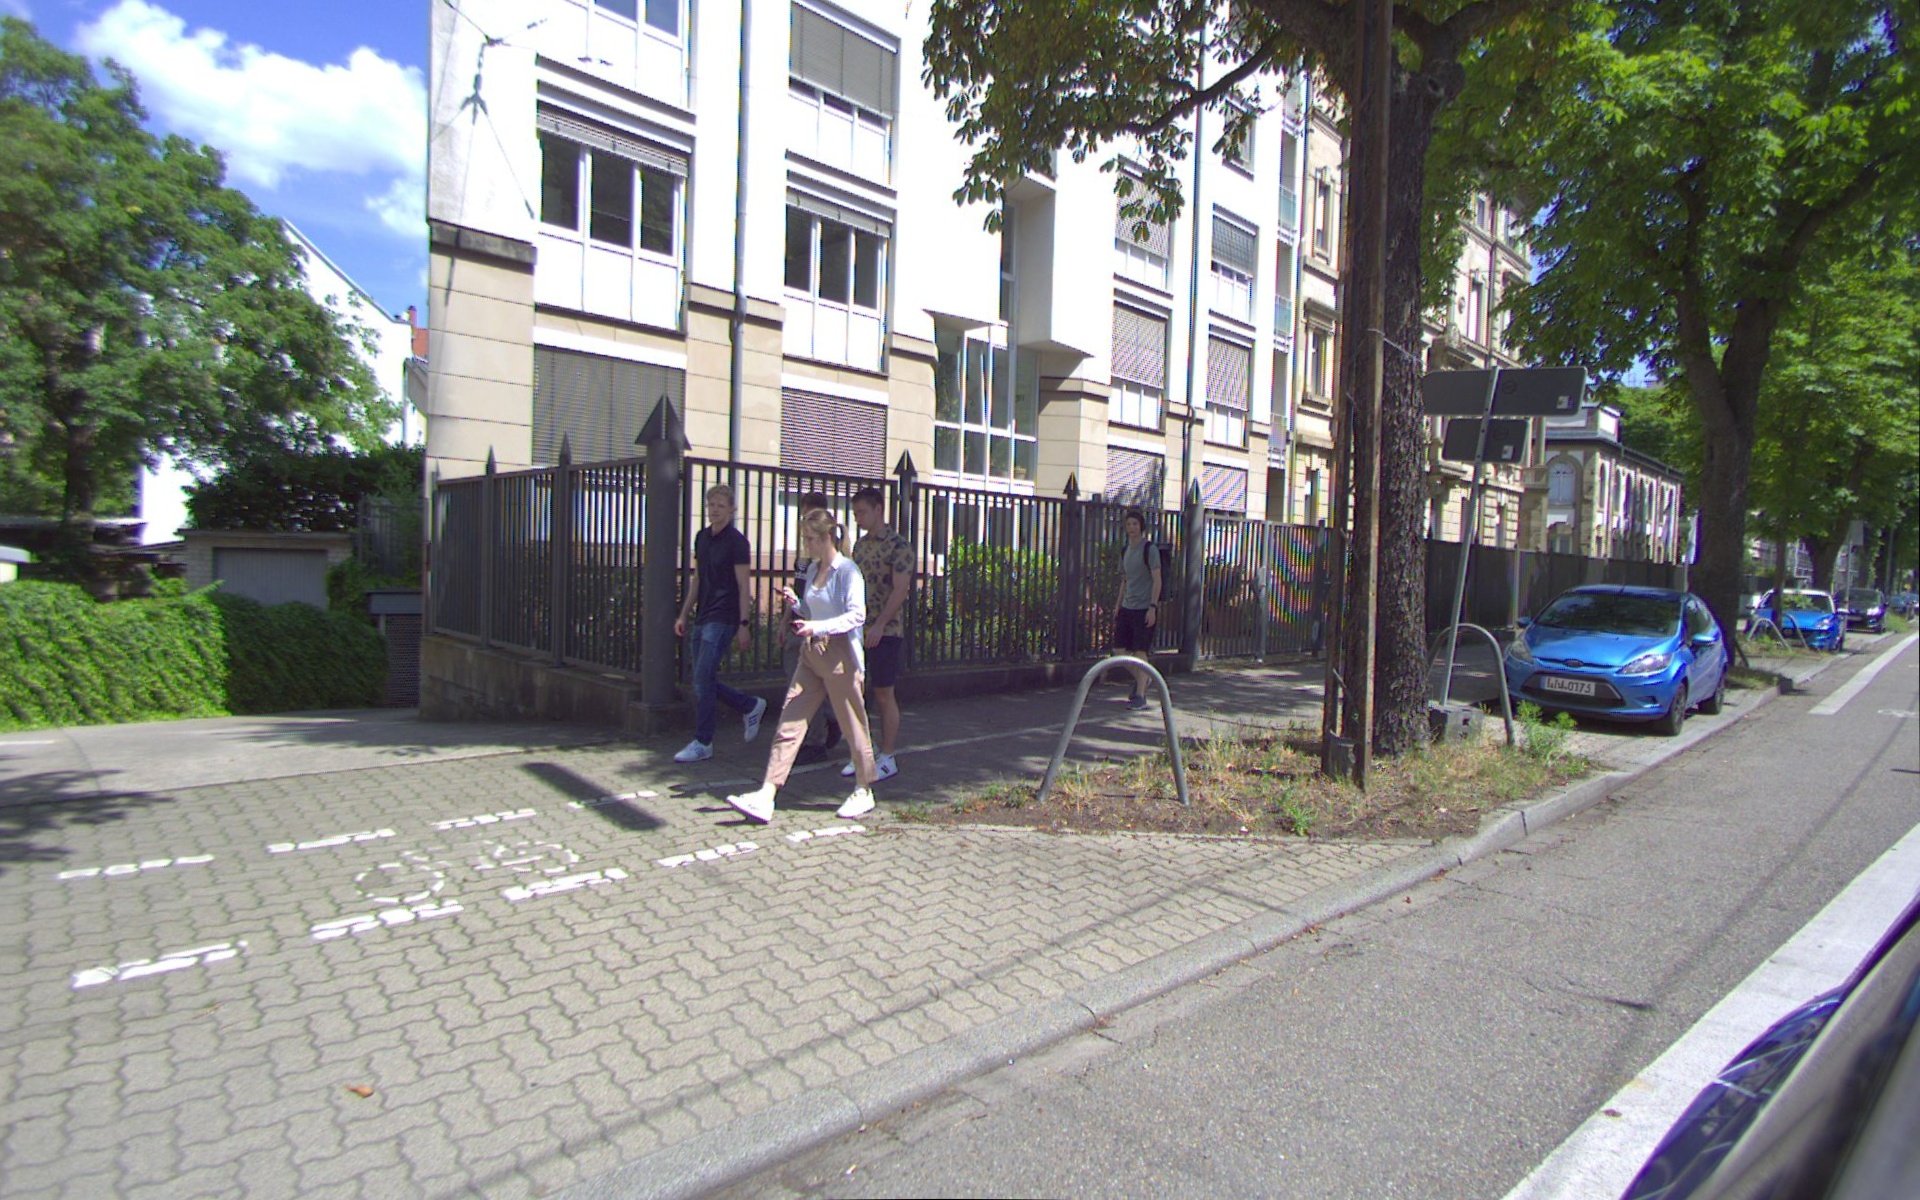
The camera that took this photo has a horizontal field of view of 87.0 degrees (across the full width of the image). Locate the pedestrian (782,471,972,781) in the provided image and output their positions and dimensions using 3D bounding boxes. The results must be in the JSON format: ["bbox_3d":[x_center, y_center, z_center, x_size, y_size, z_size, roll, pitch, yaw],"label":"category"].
[{"bbox_3d":[-0.524,0.133,6.441,0.931,1.798,0.705,0,2,-44],"label":"pedestrian"}]

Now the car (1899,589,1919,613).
[{"bbox_3d":[62.545,0.076,65.995,3.935,1.419,1.624,0,5,-45],"label":"car"}]

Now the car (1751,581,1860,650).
[{"bbox_3d":[20.398,0.320,24.370,1.692,1.470,3.418,4,3,44],"label":"car"}]

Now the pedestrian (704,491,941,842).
[{"bbox_3d":[-0.734,0.297,5.417,0.957,1.671,0.767,0,2,-43],"label":"pedestrian"}]

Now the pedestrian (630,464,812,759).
[{"bbox_3d":[-1.609,0.056,6.851,0.961,1.834,0.661,0,2,-45],"label":"pedestrian"}]

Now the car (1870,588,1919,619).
[{"bbox_3d":[48.984,0.149,53.014,3.761,1.419,1.624,0,5,-45],"label":"car"}]

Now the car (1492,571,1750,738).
[{"bbox_3d":[7.614,0.495,11.526,1.679,1.460,3.661,8,6,44],"label":"car"}]

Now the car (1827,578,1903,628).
[{"bbox_3d":[33.548,0.085,37.465,4.017,1.635,1.732,0,5,-44],"label":"car"}]

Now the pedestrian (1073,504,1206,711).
[{"bbox_3d":[1.699,0.048,9.526,1.066,1.819,0.685,0,3,-45],"label":"pedestrian"}]

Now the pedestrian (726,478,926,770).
[{"bbox_3d":[-0.896,0.127,6.818,0.788,1.783,1.035,4,3,44],"label":"pedestrian"}]

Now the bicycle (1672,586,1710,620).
[{"bbox_3d":[24.165,0.089,33.442,1.947,1.084,0.608,0,3,-43],"label":"bicycle"}]
